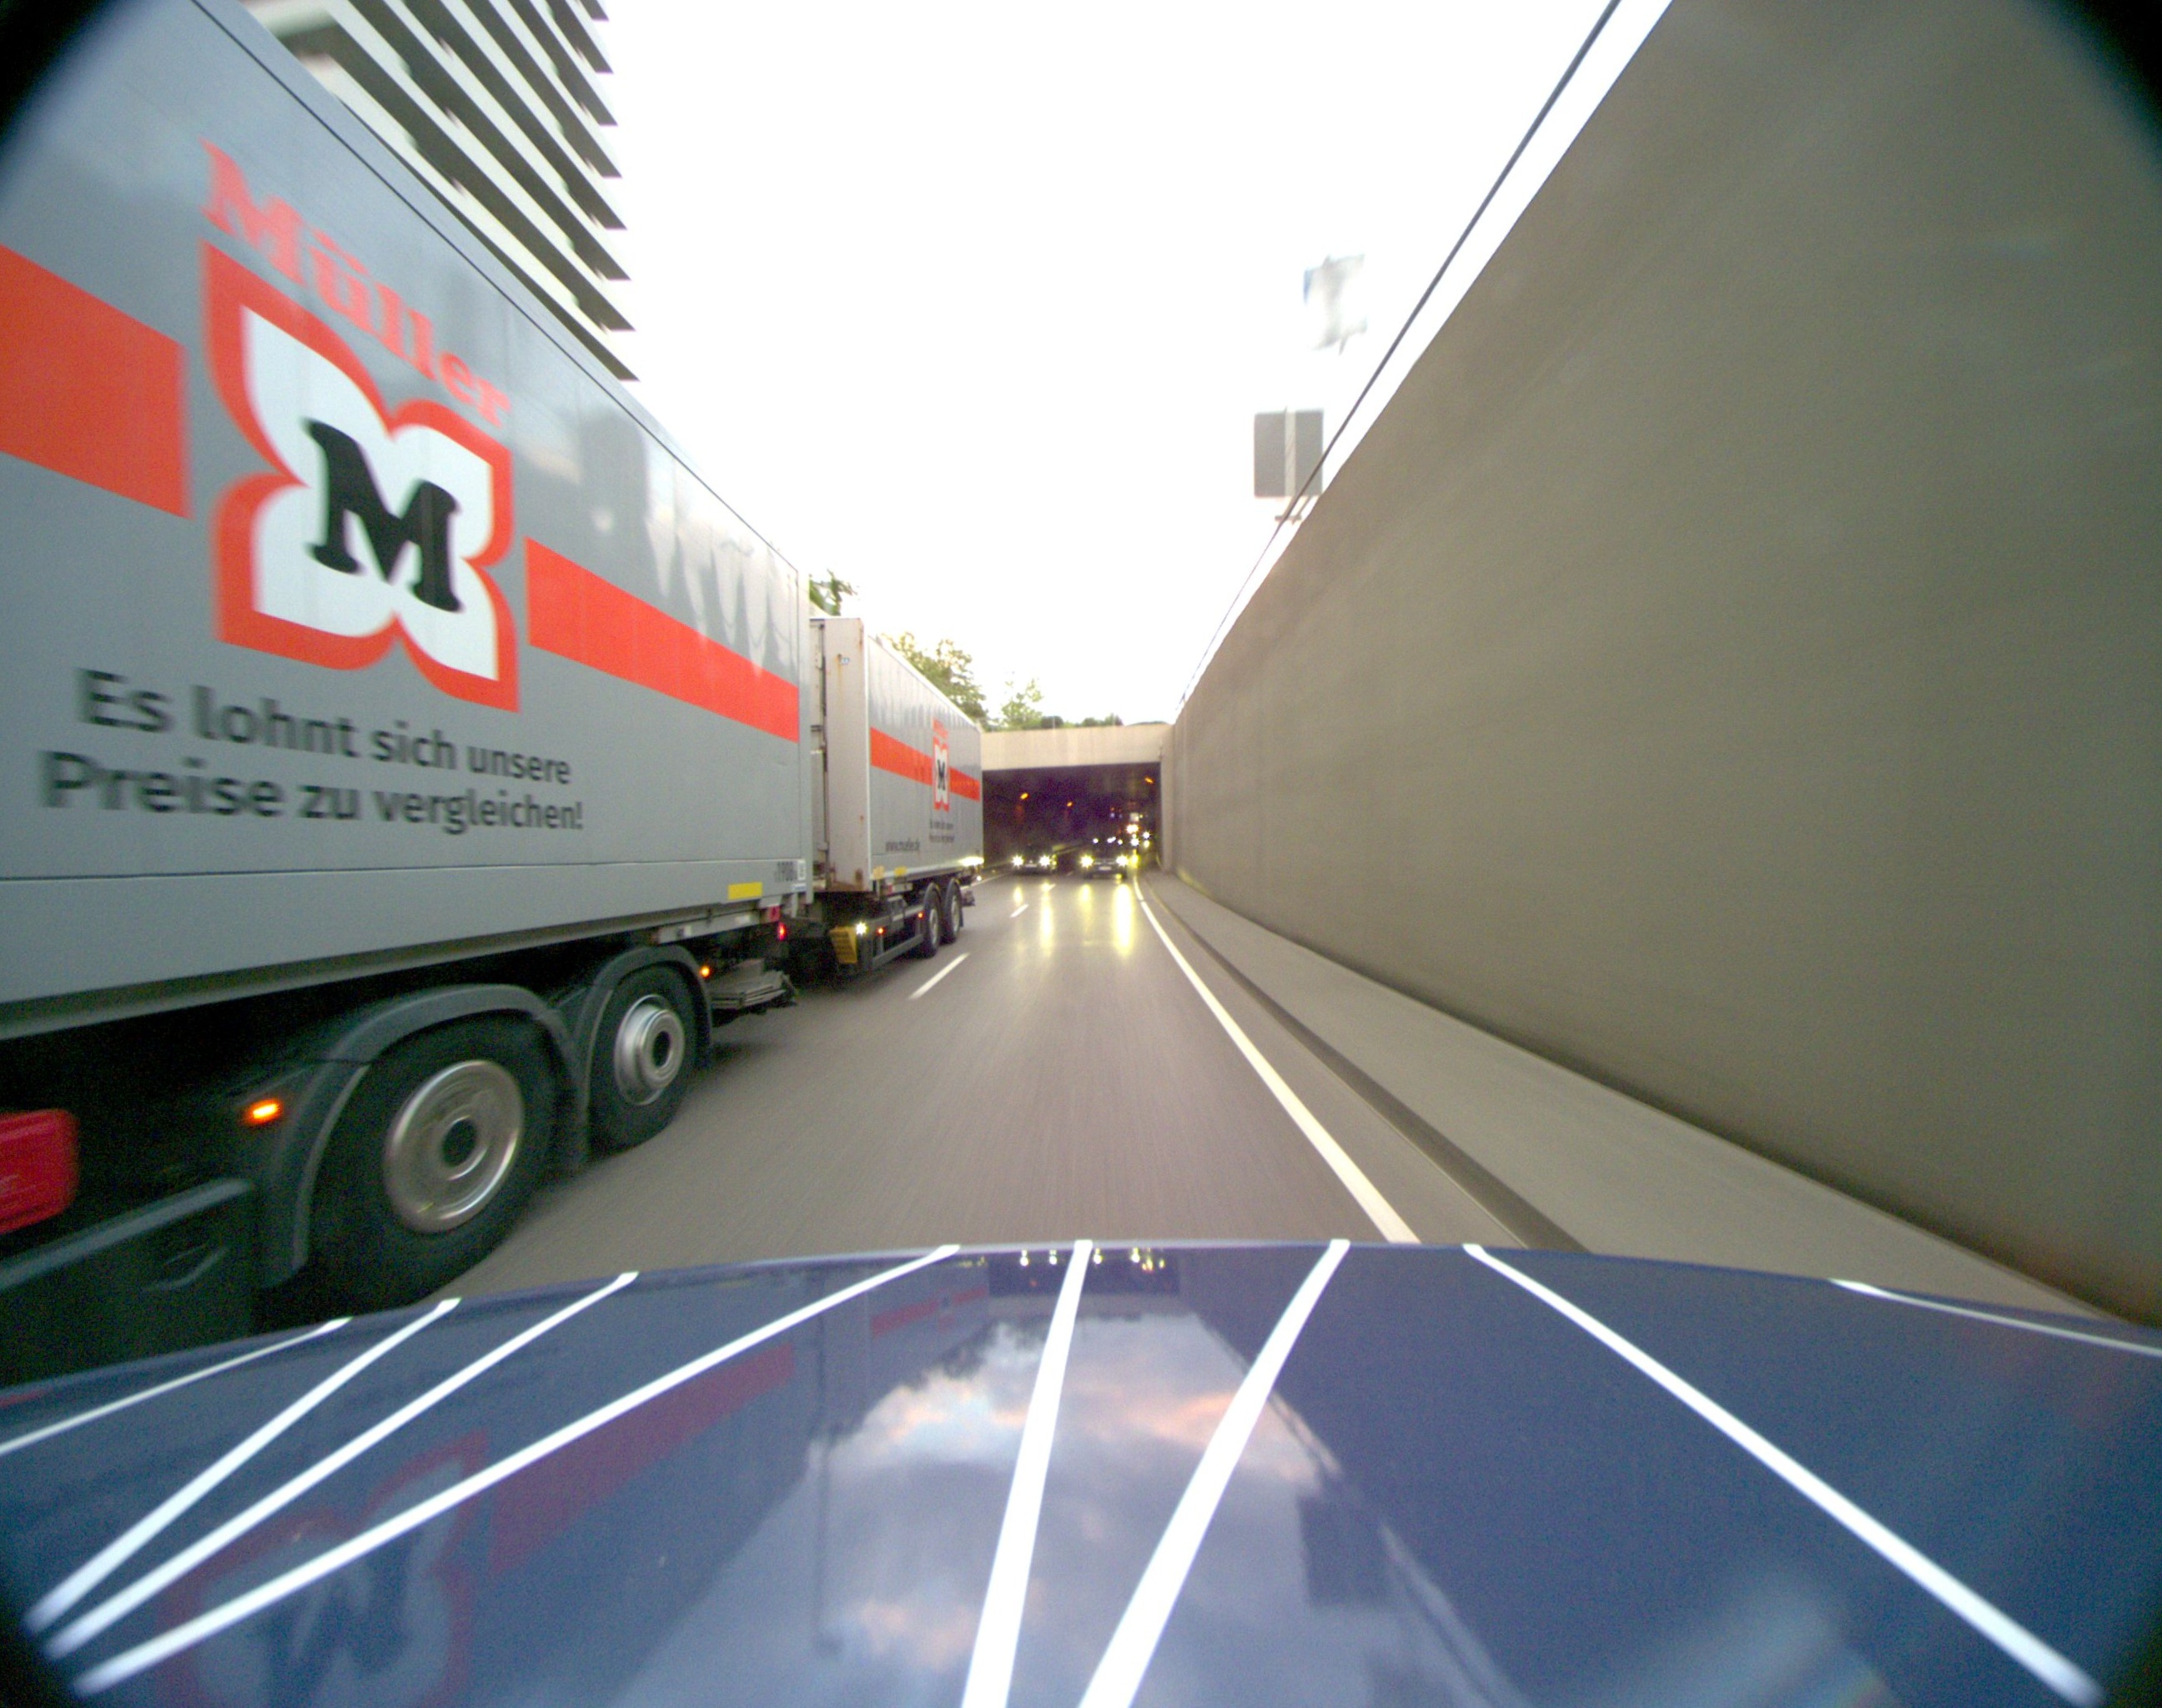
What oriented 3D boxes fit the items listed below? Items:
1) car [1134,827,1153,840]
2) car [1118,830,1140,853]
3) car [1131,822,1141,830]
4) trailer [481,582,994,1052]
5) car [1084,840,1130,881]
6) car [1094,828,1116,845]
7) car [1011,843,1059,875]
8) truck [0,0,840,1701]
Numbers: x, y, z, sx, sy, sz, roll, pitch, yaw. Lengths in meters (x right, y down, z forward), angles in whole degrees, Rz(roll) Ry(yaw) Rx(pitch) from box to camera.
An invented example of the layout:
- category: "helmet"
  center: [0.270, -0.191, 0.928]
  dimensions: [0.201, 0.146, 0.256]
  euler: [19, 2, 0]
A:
- category: "car"
  center: [7.771, -2.567, 94.562]
  dimensions: [1.997, 1.576, 4.653]
  euler: [-2, 2, 9]
- category: "car"
  center: [4.093, -1.061, 63.818]
  dimensions: [1.714, 1.729, 3.999]
  euler: [-2, 3, 5]
- category: "car"
  center: [12.860, -6.599, 177.543]
  dimensions: [1.998, 1.674, 3.999]
  euler: [-2, 2, 3]
- category: "trailer"
  center: [-3.385, -0.357, 10.842]
  dimensions: [2.882, 3.836, 8.947]
  euler: [-2, 1, 2]
- category: "car"
  center: [1.177, 0.242, 32.997]
  dimensions: [1.819, 1.590, 4.000]
  euler: [-1, 2, 4]
- category: "car"
  center: [2.439, -1.749, 76.930]
  dimensions: [1.734, 1.565, 4.001]
  euler: [-3, 1, 7]
- category: "car"
  center: [-2.131, 0.193, 36.215]
  dimensions: [1.734, 1.395, 3.799]
  euler: [-1, 2, 4]
- category: "truck"
  center: [-3.659, -0.214, 1.394]
  dimensions: [2.896, 3.891, 9.908]
  euler: [-2, 1, 2]
